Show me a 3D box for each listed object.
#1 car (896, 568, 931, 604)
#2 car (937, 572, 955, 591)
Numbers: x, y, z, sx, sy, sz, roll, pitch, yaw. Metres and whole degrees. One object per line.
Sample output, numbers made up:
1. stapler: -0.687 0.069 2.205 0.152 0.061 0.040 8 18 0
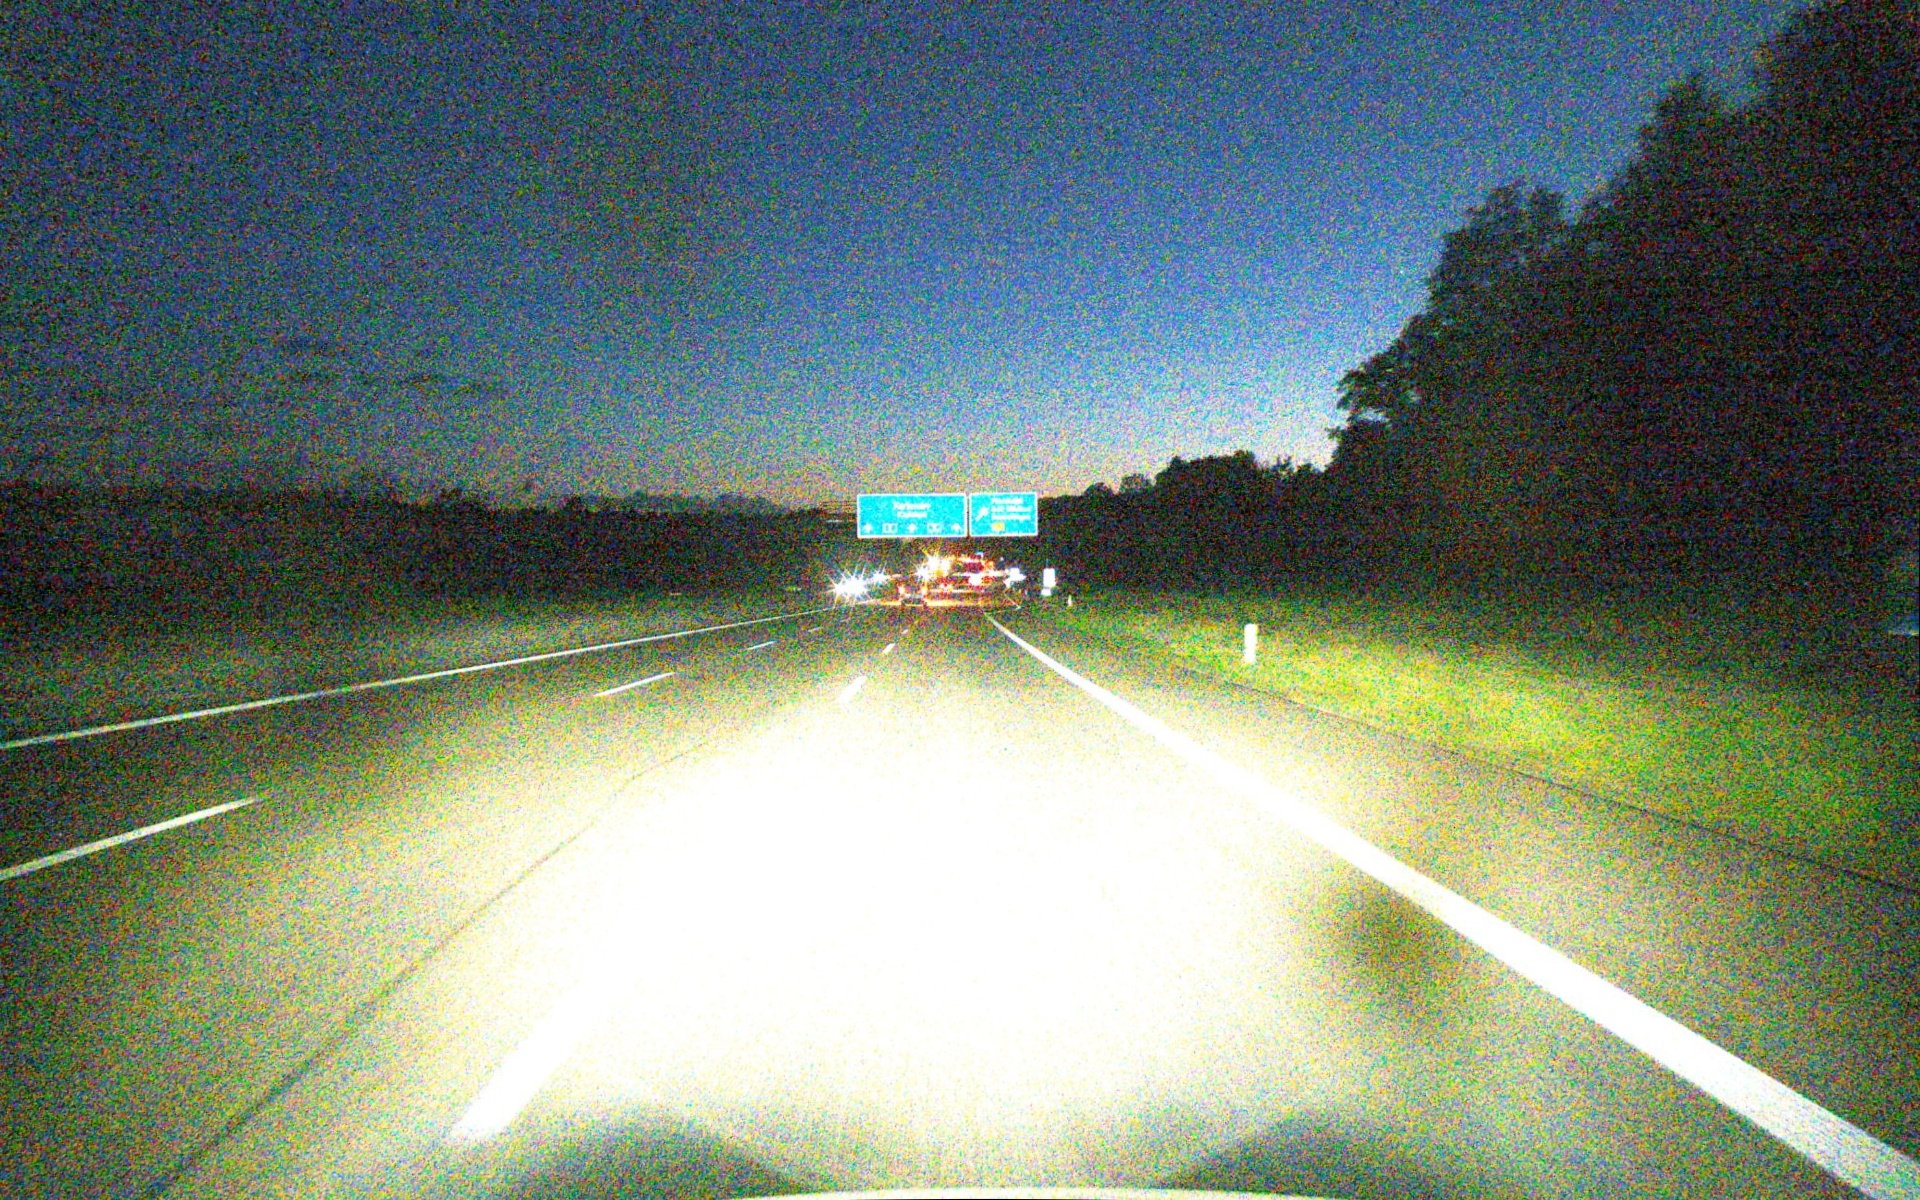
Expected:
1. car: -3.759 -1.102 133.125 2.730 2.781 6.296 0 0 -2
2. car: -2.211 -2.874 260.238 2.730 2.781 6.297 0 0 -1
